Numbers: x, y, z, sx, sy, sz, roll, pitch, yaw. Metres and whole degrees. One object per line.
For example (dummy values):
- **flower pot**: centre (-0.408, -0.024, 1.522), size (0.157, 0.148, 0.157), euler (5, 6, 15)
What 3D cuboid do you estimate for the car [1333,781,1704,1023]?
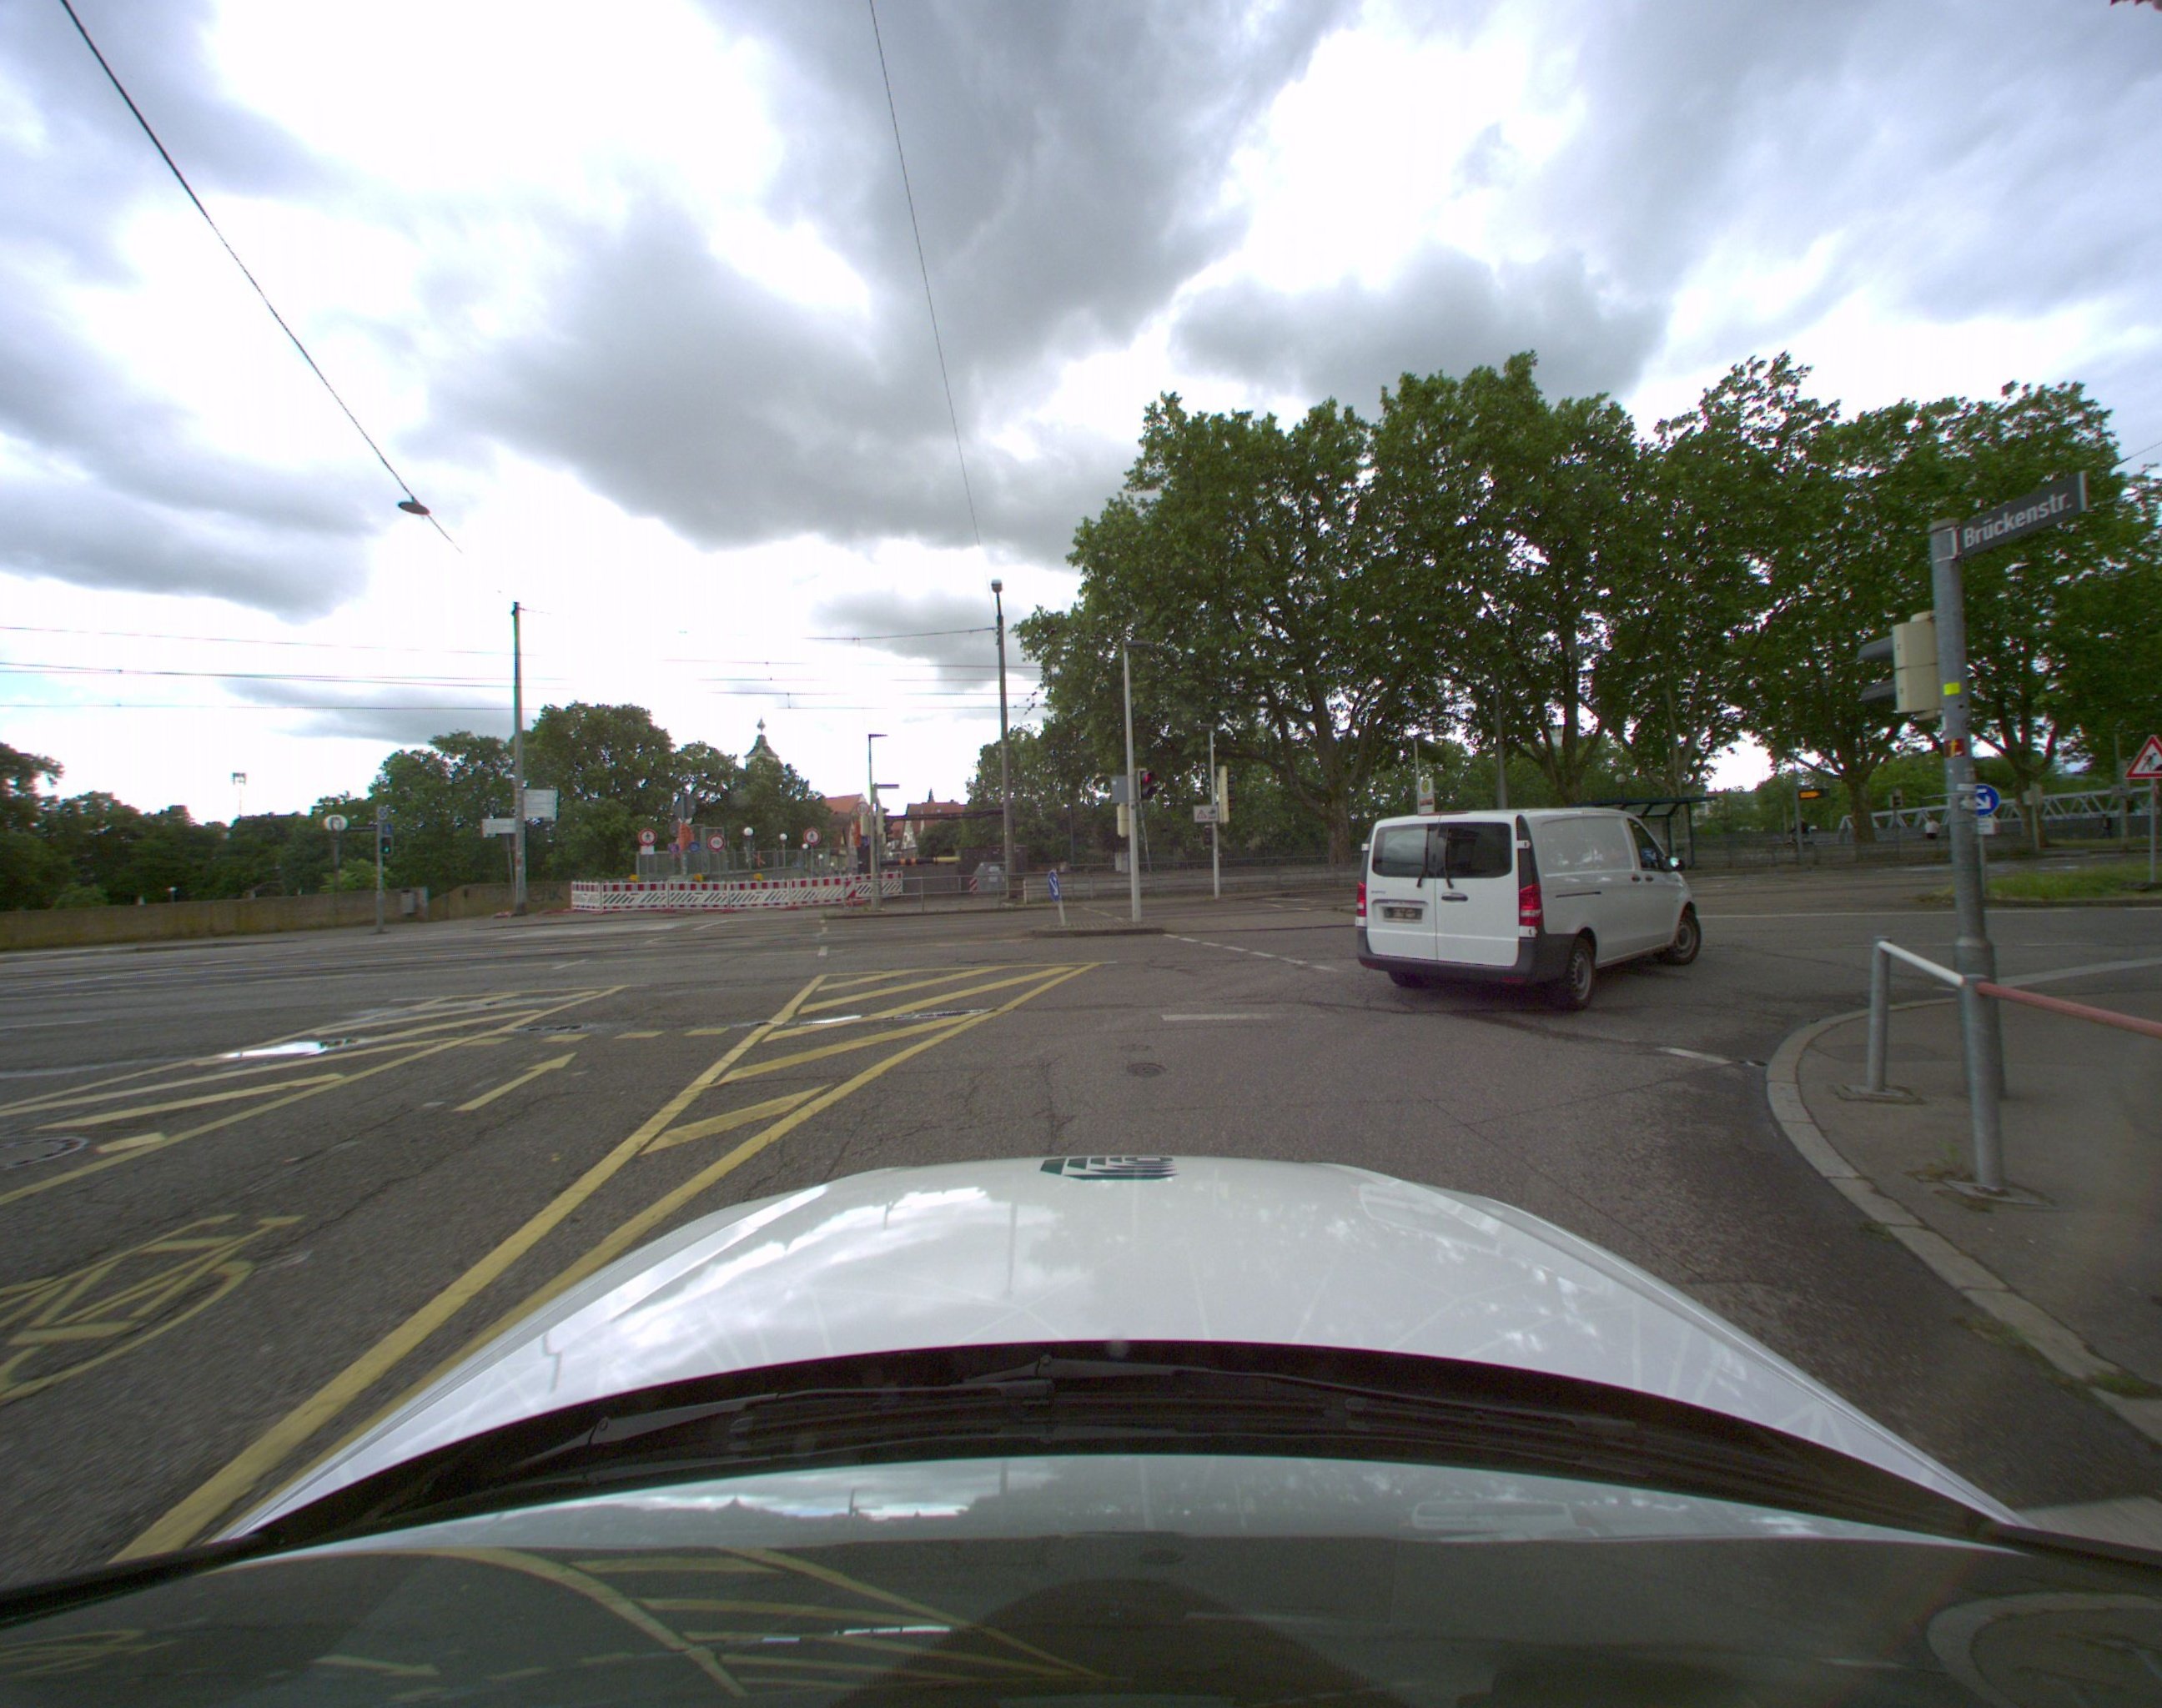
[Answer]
- **car**: centre (5.018, 0.391, 9.031), size (4.721, 2.014, 1.934), euler (-1, -1, -39)
